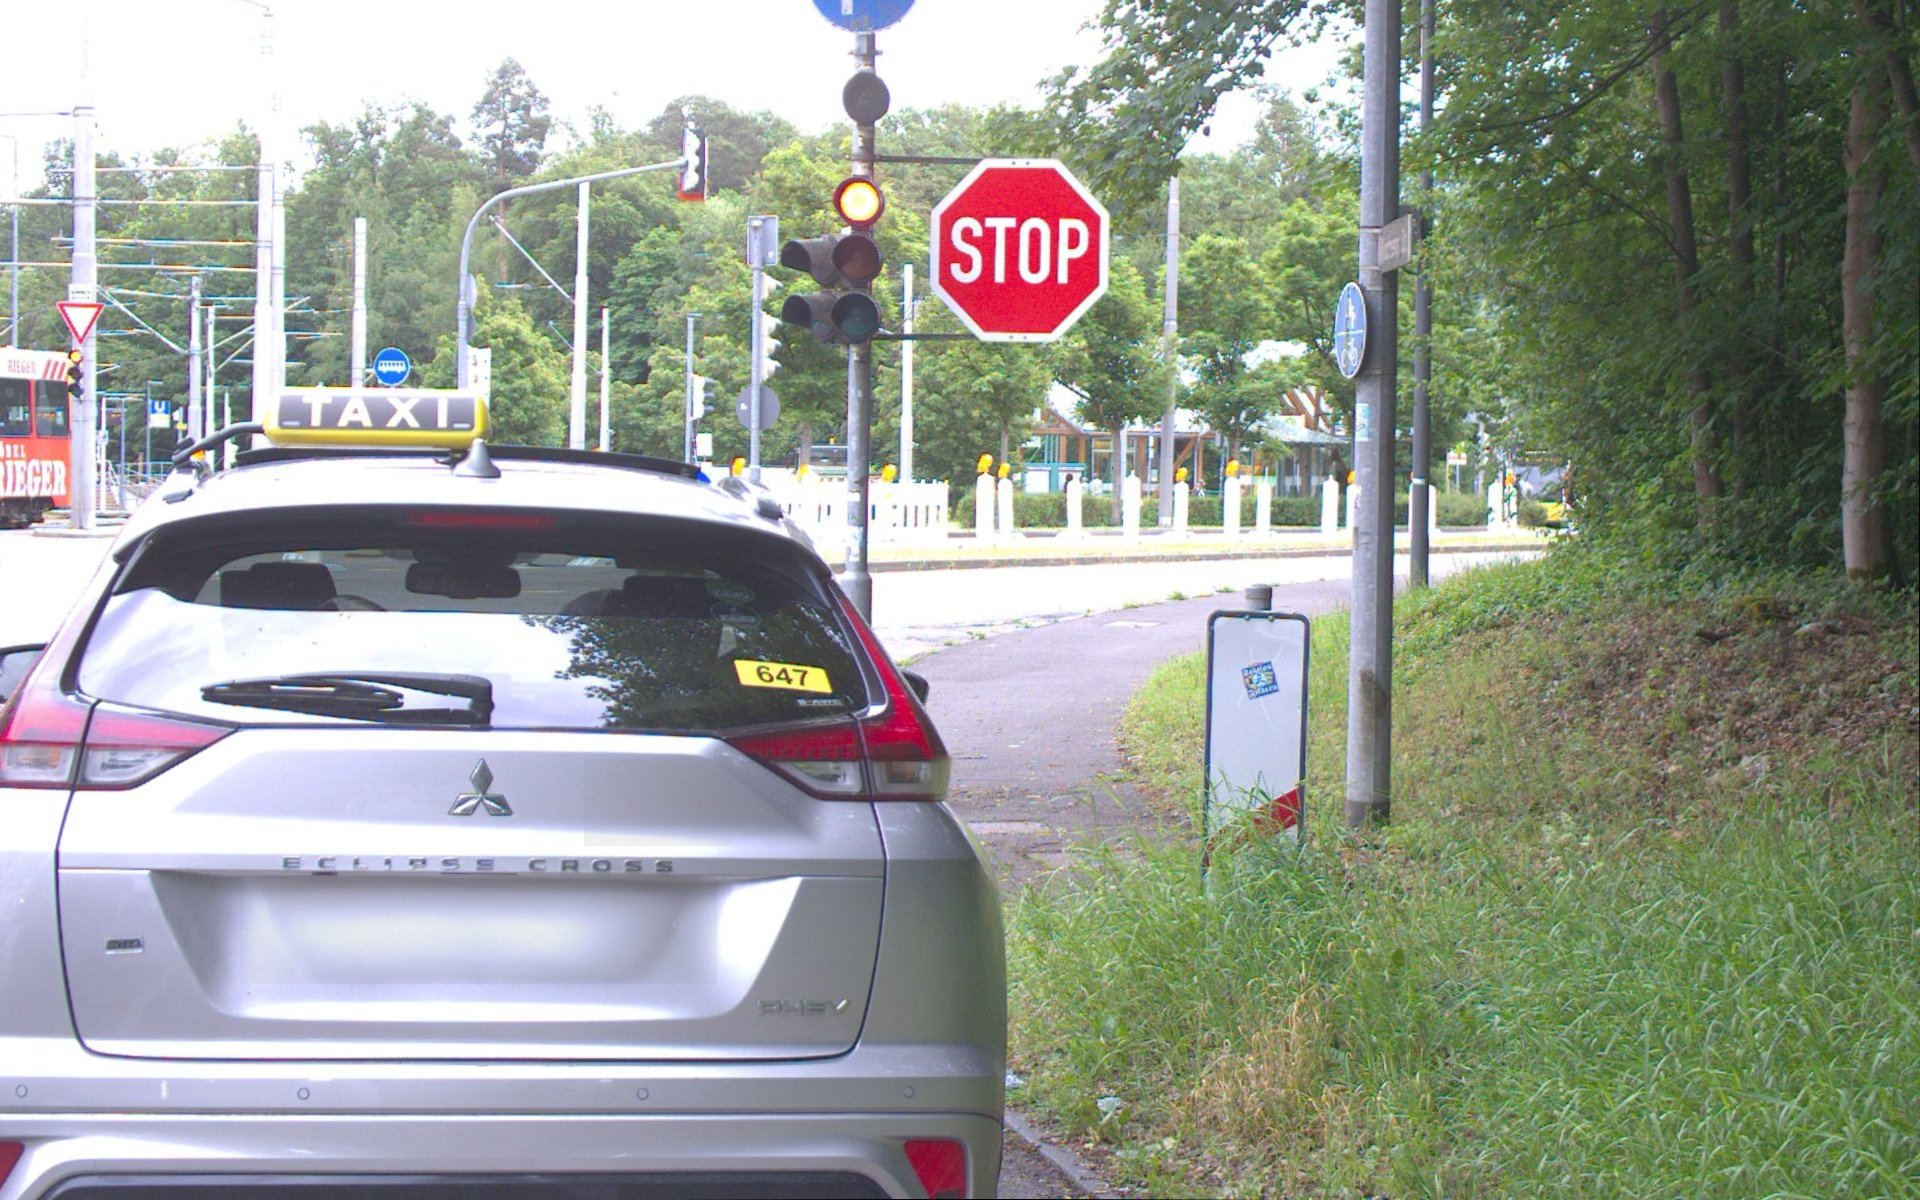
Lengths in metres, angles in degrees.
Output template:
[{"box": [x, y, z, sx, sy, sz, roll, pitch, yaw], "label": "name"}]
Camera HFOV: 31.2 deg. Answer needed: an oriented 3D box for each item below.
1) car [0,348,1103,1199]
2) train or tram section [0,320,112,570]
[{"box": [-0.990, 0.474, 6.826, 1.773, 1.742, 3.782, 2, 2, -9], "label": "car"}, {"box": [-20.053, -2.873, 59.740, 2.948, 4.634, 18.537, 1, 1, 10], "label": "train or tram section"}]
